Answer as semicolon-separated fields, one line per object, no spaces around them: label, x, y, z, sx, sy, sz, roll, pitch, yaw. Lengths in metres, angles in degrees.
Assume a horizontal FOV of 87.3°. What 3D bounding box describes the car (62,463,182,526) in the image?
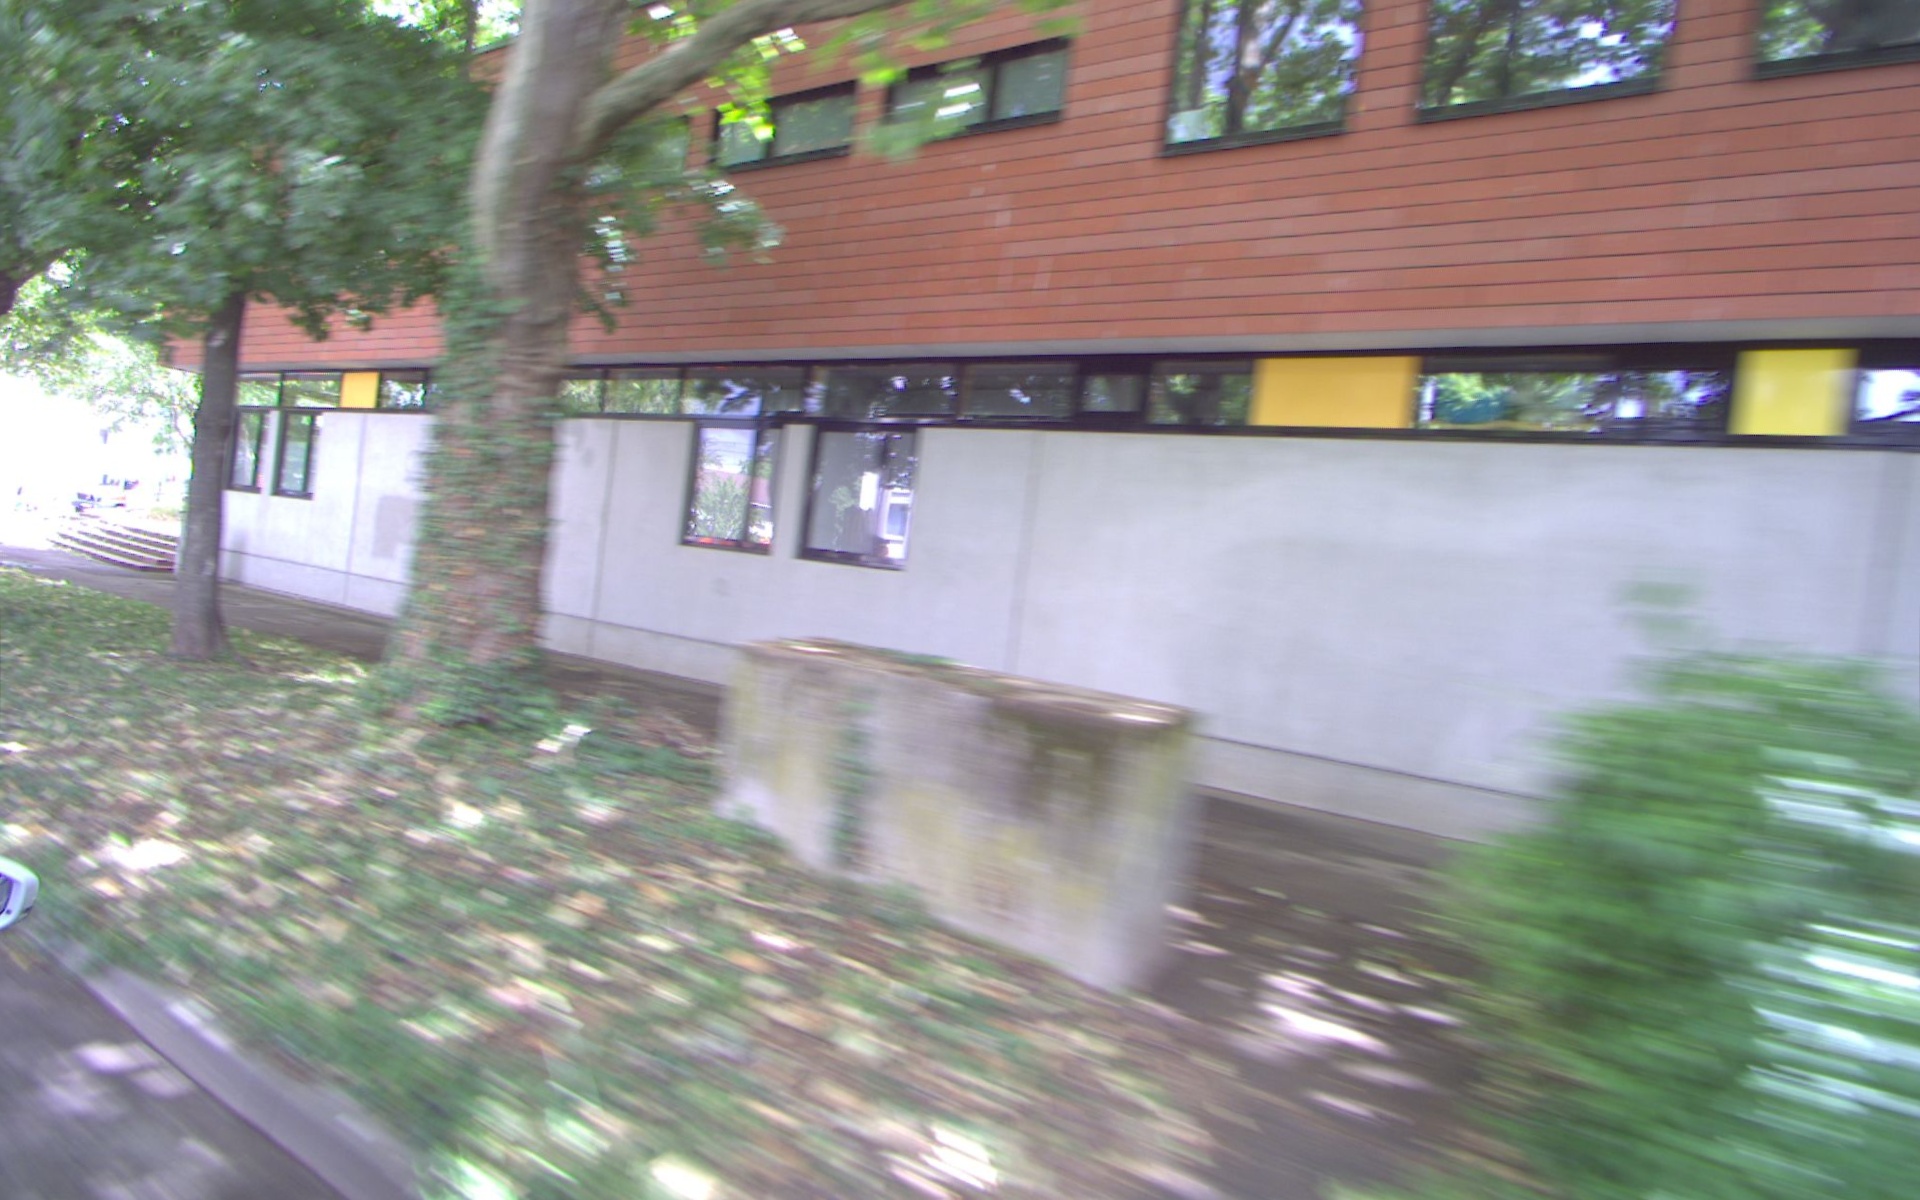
car;-42.686;-5.330;51.408;2.117;2.393;4.256;7;-1;5
